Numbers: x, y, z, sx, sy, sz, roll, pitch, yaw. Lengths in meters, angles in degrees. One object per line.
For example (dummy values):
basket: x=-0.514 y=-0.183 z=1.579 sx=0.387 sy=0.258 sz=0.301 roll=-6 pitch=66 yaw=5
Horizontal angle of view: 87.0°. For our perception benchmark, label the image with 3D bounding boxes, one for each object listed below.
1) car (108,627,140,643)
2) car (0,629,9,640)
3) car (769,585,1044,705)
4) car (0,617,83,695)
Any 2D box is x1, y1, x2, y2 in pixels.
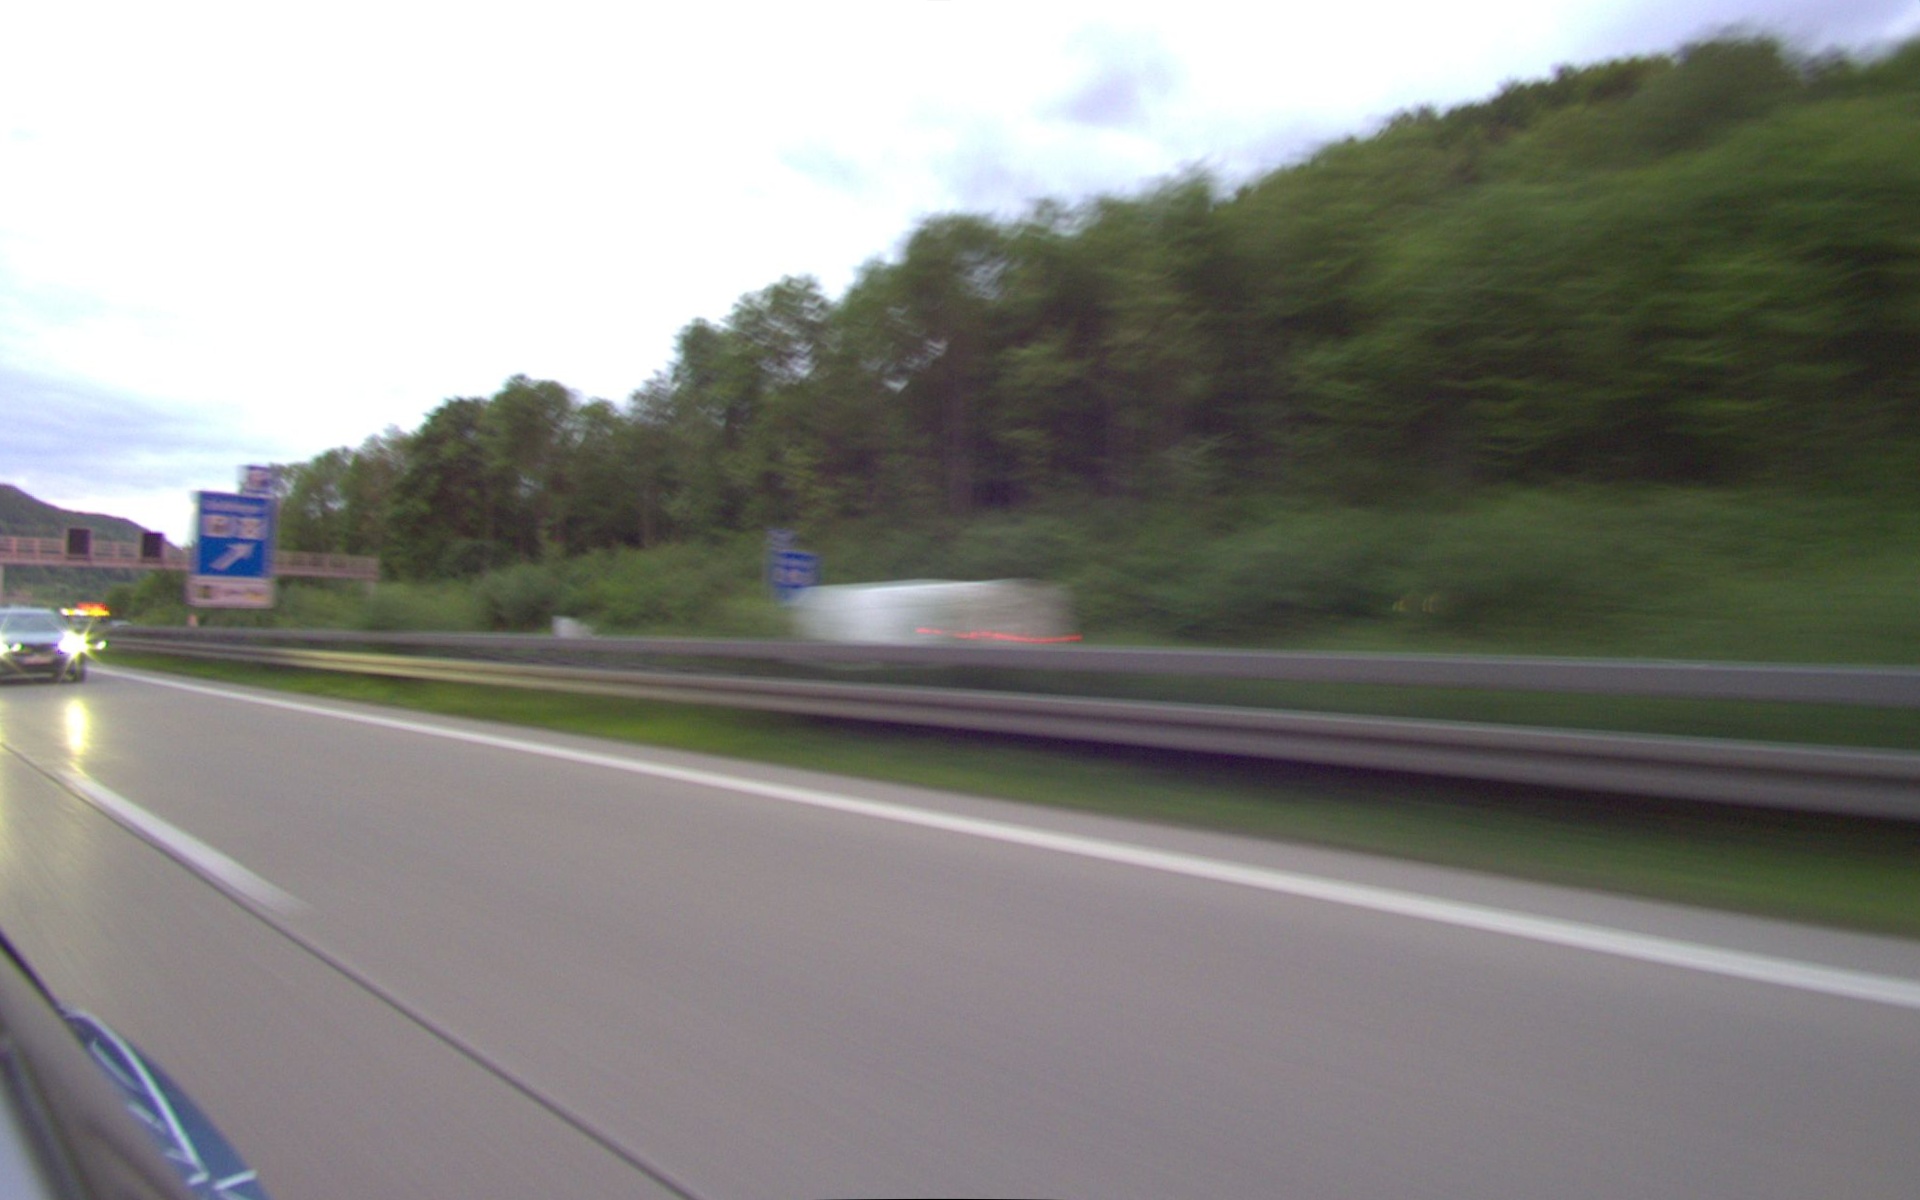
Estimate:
car: x=-82.889 y=3.457 z=100.361 sx=4.388 sy=1.493 sz=1.744 roll=-1 pitch=-2 yaw=41
car: x=-157.831 y=5.643 z=166.139 sx=5.657 sy=1.747 sz=1.829 roll=-1 pitch=-2 yaw=41
car: x=-1.415 y=0.969 z=23.148 sx=6.716 sy=2.377 sz=2.115 roll=-1 pitch=-2 yaw=41
car: x=-22.241 y=1.239 z=23.719 sx=5.638 sy=1.672 sz=1.869 roll=-1 pitch=-2 yaw=42
